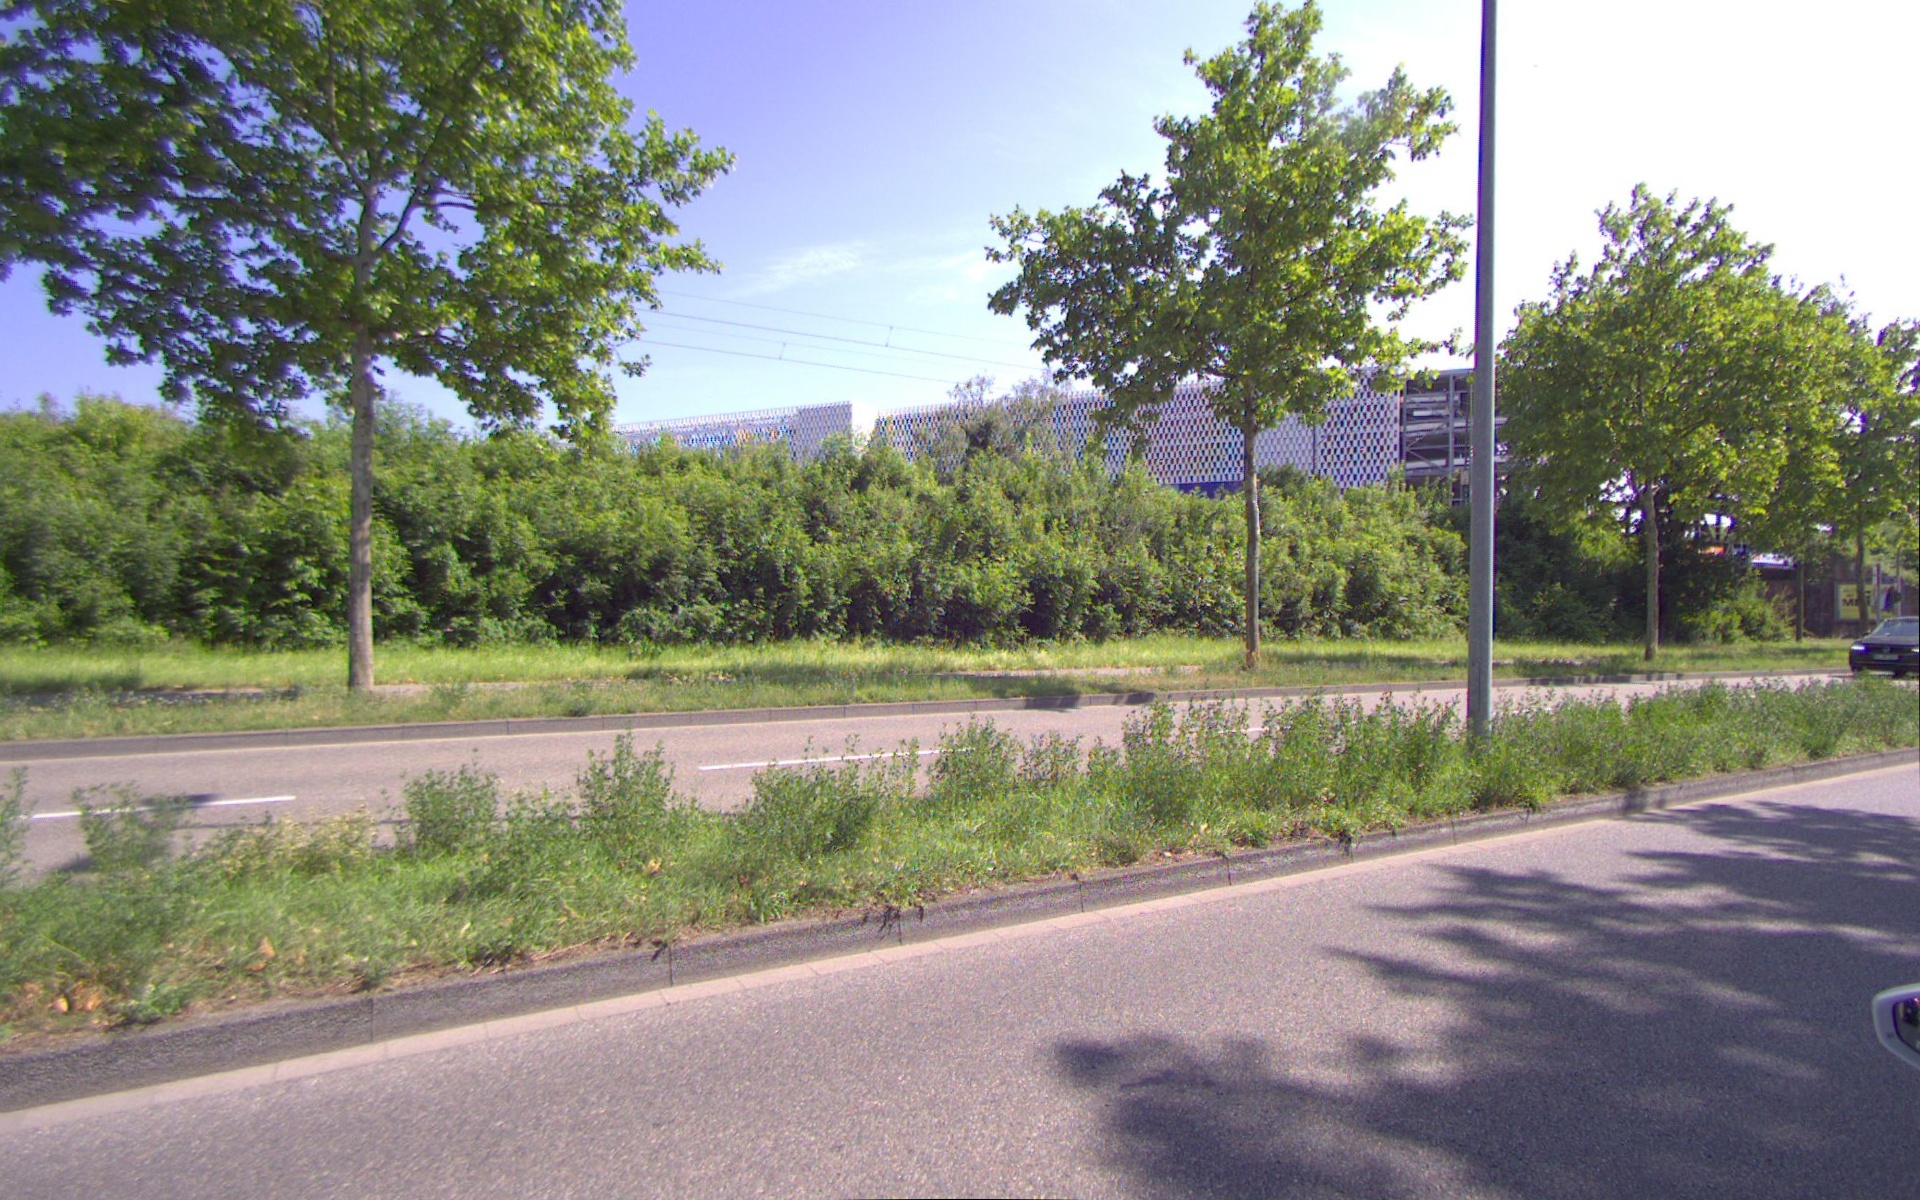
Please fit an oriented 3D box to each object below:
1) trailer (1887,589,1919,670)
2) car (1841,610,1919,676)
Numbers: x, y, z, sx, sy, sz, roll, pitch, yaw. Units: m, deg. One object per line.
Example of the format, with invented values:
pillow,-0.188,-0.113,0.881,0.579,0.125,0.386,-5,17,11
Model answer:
trailer,29.767,0.891,29.426,5.472,2.295,2.298,1,0,-30
car,25.557,1.123,26.861,4.309,1.643,1.707,1,0,-30
